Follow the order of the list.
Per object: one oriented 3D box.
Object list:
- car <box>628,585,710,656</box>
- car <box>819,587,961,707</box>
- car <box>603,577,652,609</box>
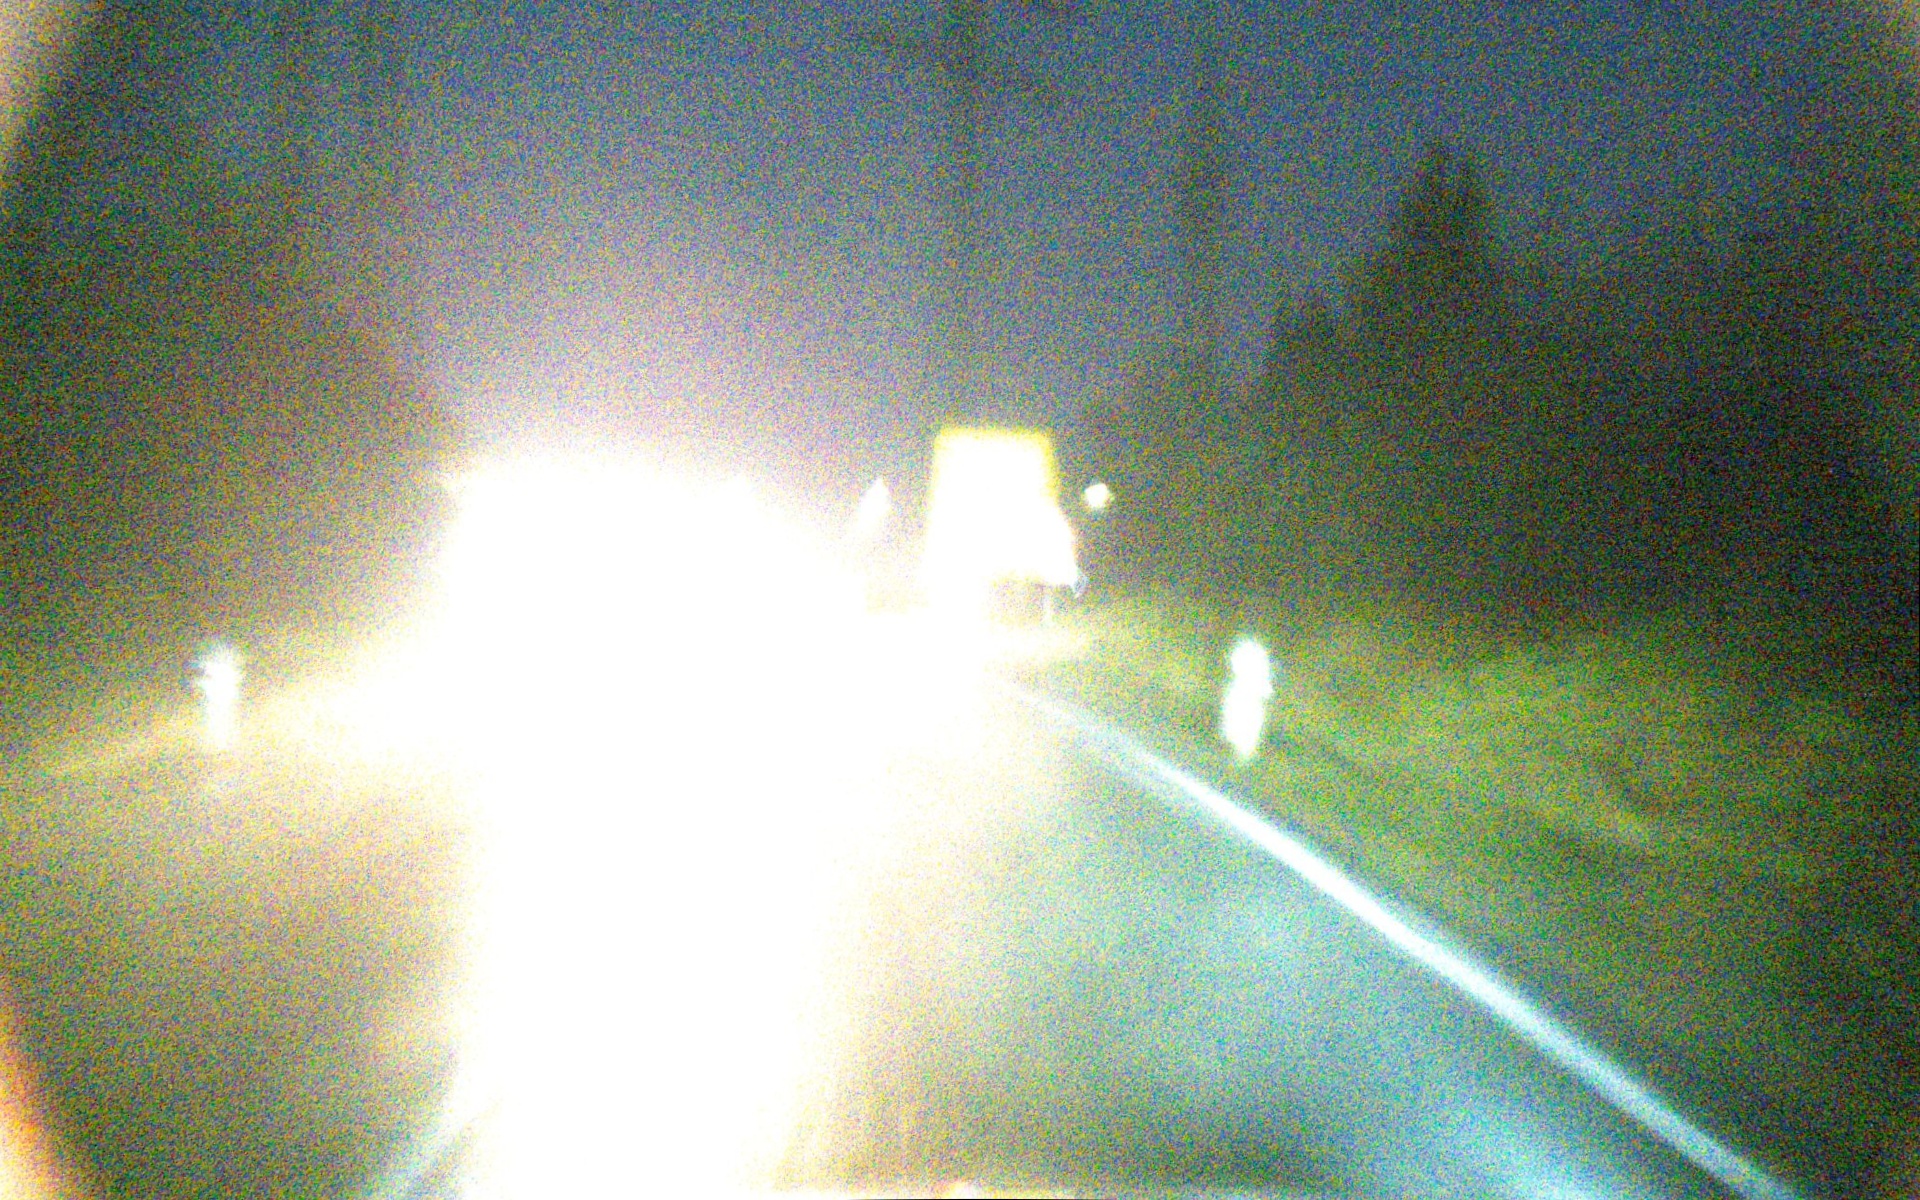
[{"bbox_3d":[-6.644,0.432,37.875,1.739,1.509,4.371,0,0,-10],"label":"car"},{"bbox_3d":[-1.160,0.637,25.427,1.954,1.656,4.980,1,0,-5],"label":"car"},{"bbox_3d":[-15.368,-0.332,76.255,1.744,1.413,4.211,0,0,-18],"label":"car"}]
